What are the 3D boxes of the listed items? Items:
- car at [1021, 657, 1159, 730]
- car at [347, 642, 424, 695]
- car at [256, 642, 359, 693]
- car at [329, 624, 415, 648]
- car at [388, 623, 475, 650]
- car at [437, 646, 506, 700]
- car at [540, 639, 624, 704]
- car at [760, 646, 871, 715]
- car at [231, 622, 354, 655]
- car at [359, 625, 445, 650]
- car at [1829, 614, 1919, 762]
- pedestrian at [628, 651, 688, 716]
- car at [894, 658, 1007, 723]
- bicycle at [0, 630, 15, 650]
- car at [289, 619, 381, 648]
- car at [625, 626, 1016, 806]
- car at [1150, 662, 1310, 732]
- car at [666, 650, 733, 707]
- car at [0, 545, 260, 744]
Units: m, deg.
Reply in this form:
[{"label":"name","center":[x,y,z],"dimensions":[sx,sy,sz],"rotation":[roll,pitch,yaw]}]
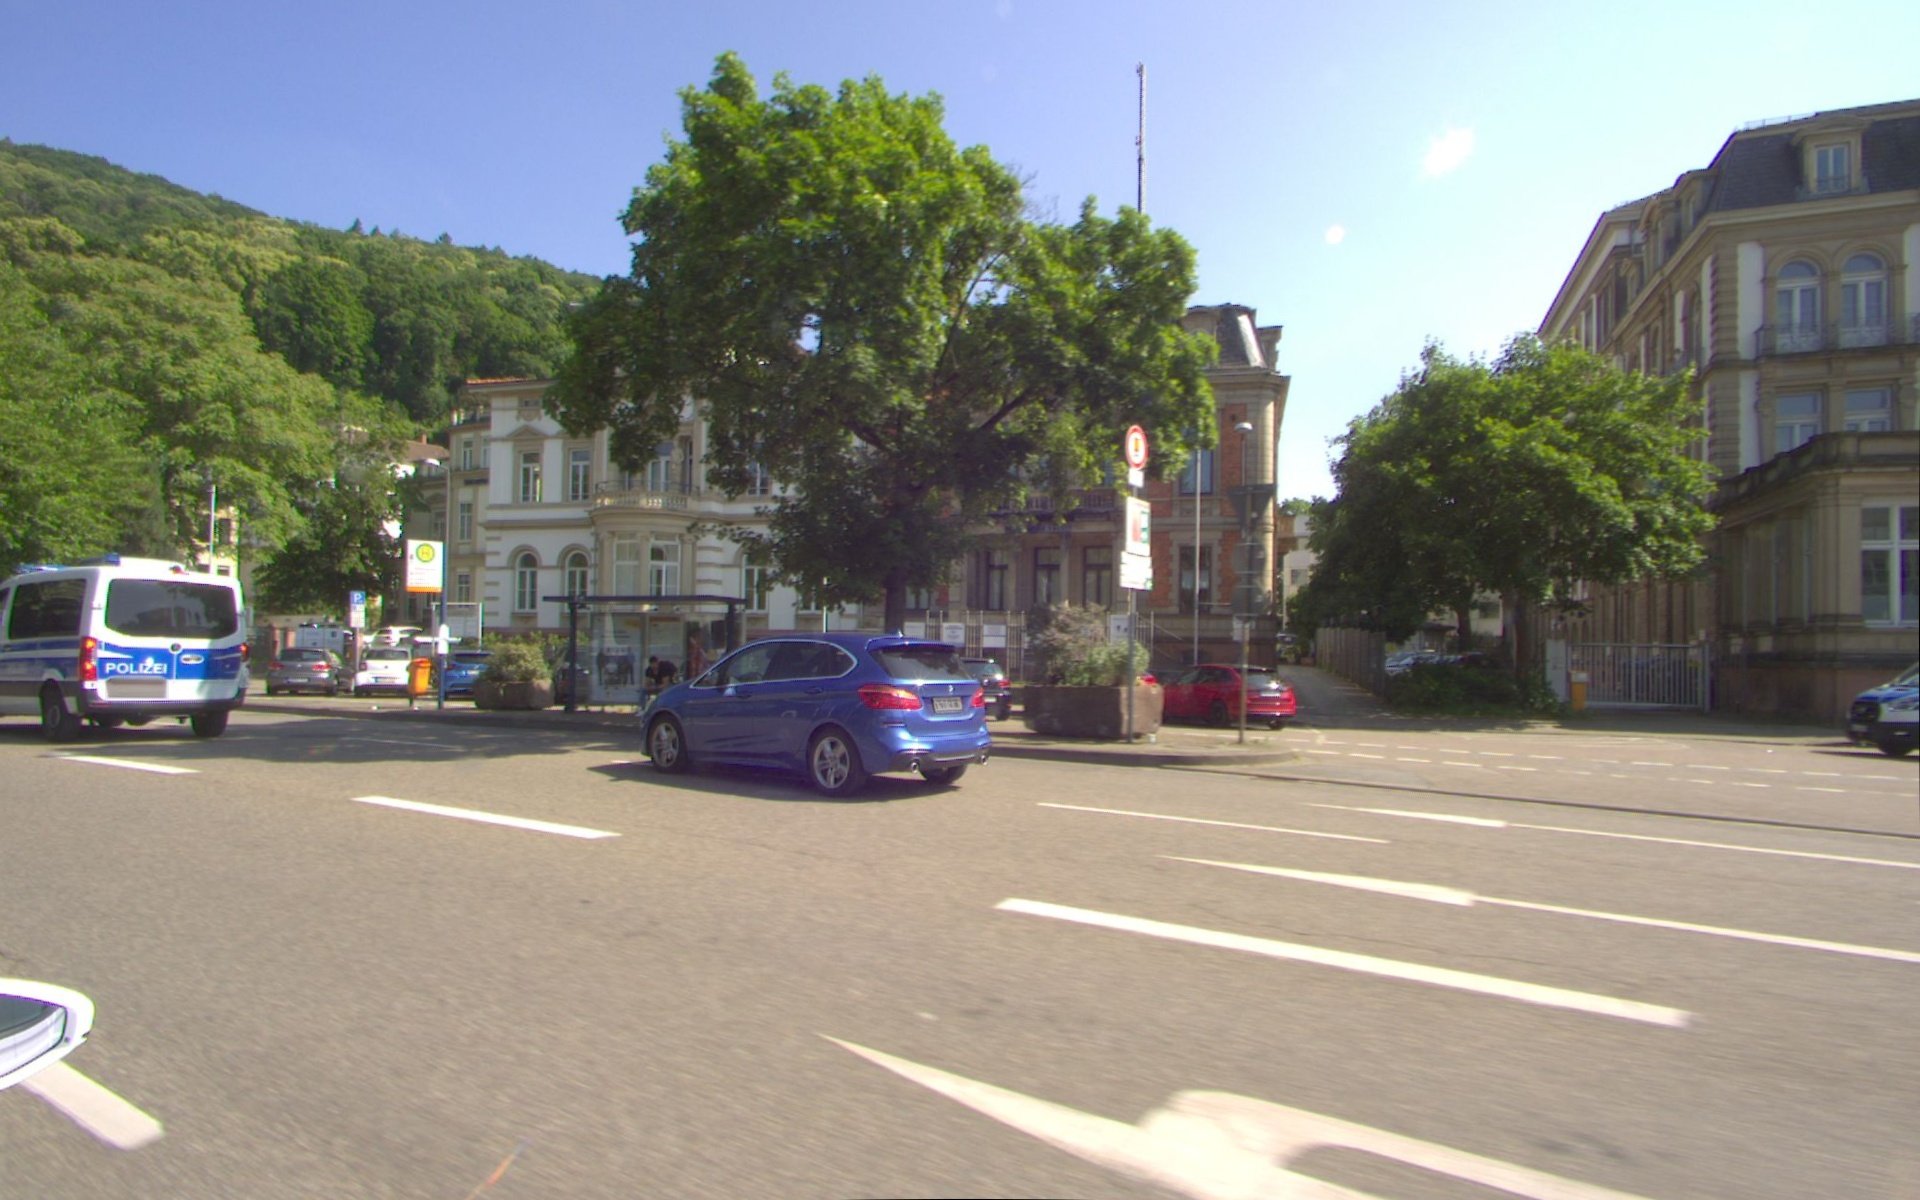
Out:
[{"label":"car","center":[3.101,2.234,24.661],"dimensions":[1.721,1.594,3.868],"rotation":[2,-3,-21]},{"label":"car","center":[-17.593,2.070,30.824],"dimensions":[1.687,1.530,3.799],"rotation":[2,-3,-25]},{"label":"car","center":[-20.069,2.050,30.978],"dimensions":[1.798,1.479,4.098],"rotation":[2,-3,-21]},{"label":"car","center":[-33.820,2.079,57.720],"dimensions":[1.790,1.353,4.046],"rotation":[0,-2,22]},{"label":"car","center":[-29.292,2.037,55.637],"dimensions":[1.790,1.437,4.055],"rotation":[0,-2,22]},{"label":"car","center":[-14.640,2.146,29.944],"dimensions":[1.689,1.460,3.795],"rotation":[2,-3,-28]},{"label":"car","center":[-10.890,2.001,28.682],"dimensions":[1.689,1.717,4.256],"rotation":[2,-3,-28]},{"label":"car","center":[-3.921,2.082,26.557],"dimensions":[1.687,1.650,4.301],"rotation":[2,-3,-26]},{"label":"car","center":[-28.916,1.679,43.492],"dimensions":[1.957,1.353,4.046],"rotation":[0,-2,22]},{"label":"car","center":[-31.680,2.120,56.961],"dimensions":[1.790,1.353,4.081],"rotation":[0,-2,22]},{"label":"car","center":[19.541,1.643,18.241],"dimensions":[5.220,2.636,1.999],"rotation":[0,-2,16]},{"label":"pedestrian","center":[-5.900,1.623,19.609],"dimensions":[0.776,1.212,1.022],"rotation":[1,-2,4]},{"label":"car","center":[-0.318,2.218,25.081],"dimensions":[1.579,1.434,3.812],"rotation":[2,-3,-21]},{"label":"bicycle","center":[-54.332,2.241,56.734],"dimensions":[1.805,1.099,0.537],"rotation":[0,-1,27]},{"label":"car","center":[-36.120,1.960,57.989],"dimensions":[1.790,1.623,4.313],"rotation":[0,-2,22]},{"label":"car","center":[-1.618,1.095,10.720],"dimensions":[4.220,1.560,1.713],"rotation":[-1,-4,39]},{"label":"car","center":[6.151,2.187,23.224],"dimensions":[1.721,1.436,3.692],"rotation":[2,-3,-21]},{"label":"car","center":[-7.239,2.146,27.749],"dimensions":[1.185,1.501,2.276],"rotation":[2,-3,-31]},{"label":"car","center":[-12.815,0.658,14.903],"dimensions":[4.857,2.539,2.071],"rotation":[-1,-3,31]}]
